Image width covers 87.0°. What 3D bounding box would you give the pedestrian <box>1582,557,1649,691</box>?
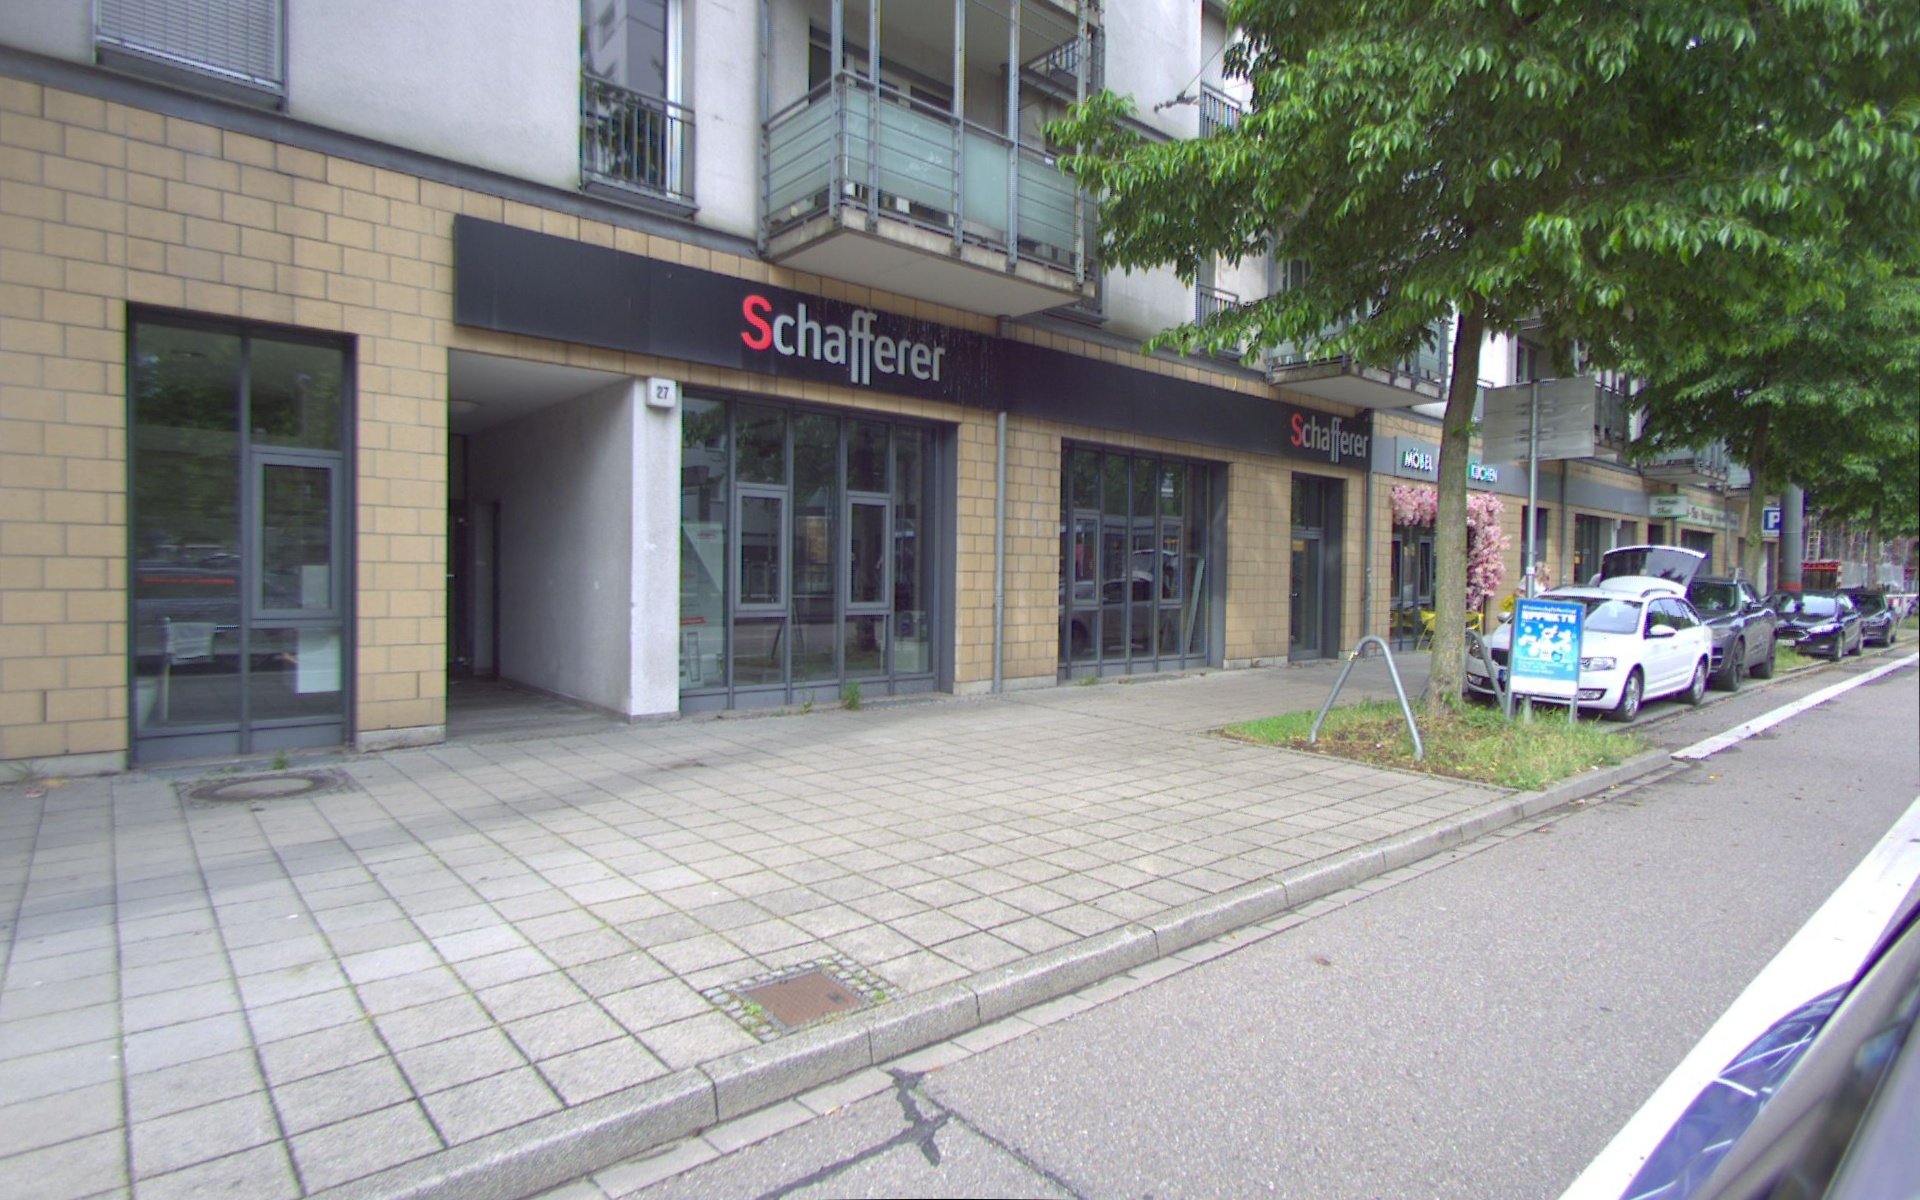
[{"bbox_3d":[9.558,0.331,14.755,0.588,1.907,0.656,0,1,-40],"label":"pedestrian"}]

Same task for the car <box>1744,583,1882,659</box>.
[{"bbox_3d":[18.629,0.385,22.039,4.095,1.394,1.612,-1,5,-41],"label":"car"}]

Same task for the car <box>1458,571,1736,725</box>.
[{"bbox_3d":[8.117,0.473,12.749,4.233,1.539,1.738,-1,5,-41],"label":"car"}]

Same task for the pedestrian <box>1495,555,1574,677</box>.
[{"bbox_3d":[8.436,0.221,14.887,0.605,1.738,0.740,1,2,-18],"label":"pedestrian"}]

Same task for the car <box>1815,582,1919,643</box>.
[{"bbox_3d":[24.150,0.285,26.865,3.603,1.417,1.612,-1,5,-41],"label":"car"}]

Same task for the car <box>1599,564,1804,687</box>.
[{"bbox_3d":[11.789,0.317,16.022,3.732,1.630,1.738,-1,5,-41],"label":"car"}]
